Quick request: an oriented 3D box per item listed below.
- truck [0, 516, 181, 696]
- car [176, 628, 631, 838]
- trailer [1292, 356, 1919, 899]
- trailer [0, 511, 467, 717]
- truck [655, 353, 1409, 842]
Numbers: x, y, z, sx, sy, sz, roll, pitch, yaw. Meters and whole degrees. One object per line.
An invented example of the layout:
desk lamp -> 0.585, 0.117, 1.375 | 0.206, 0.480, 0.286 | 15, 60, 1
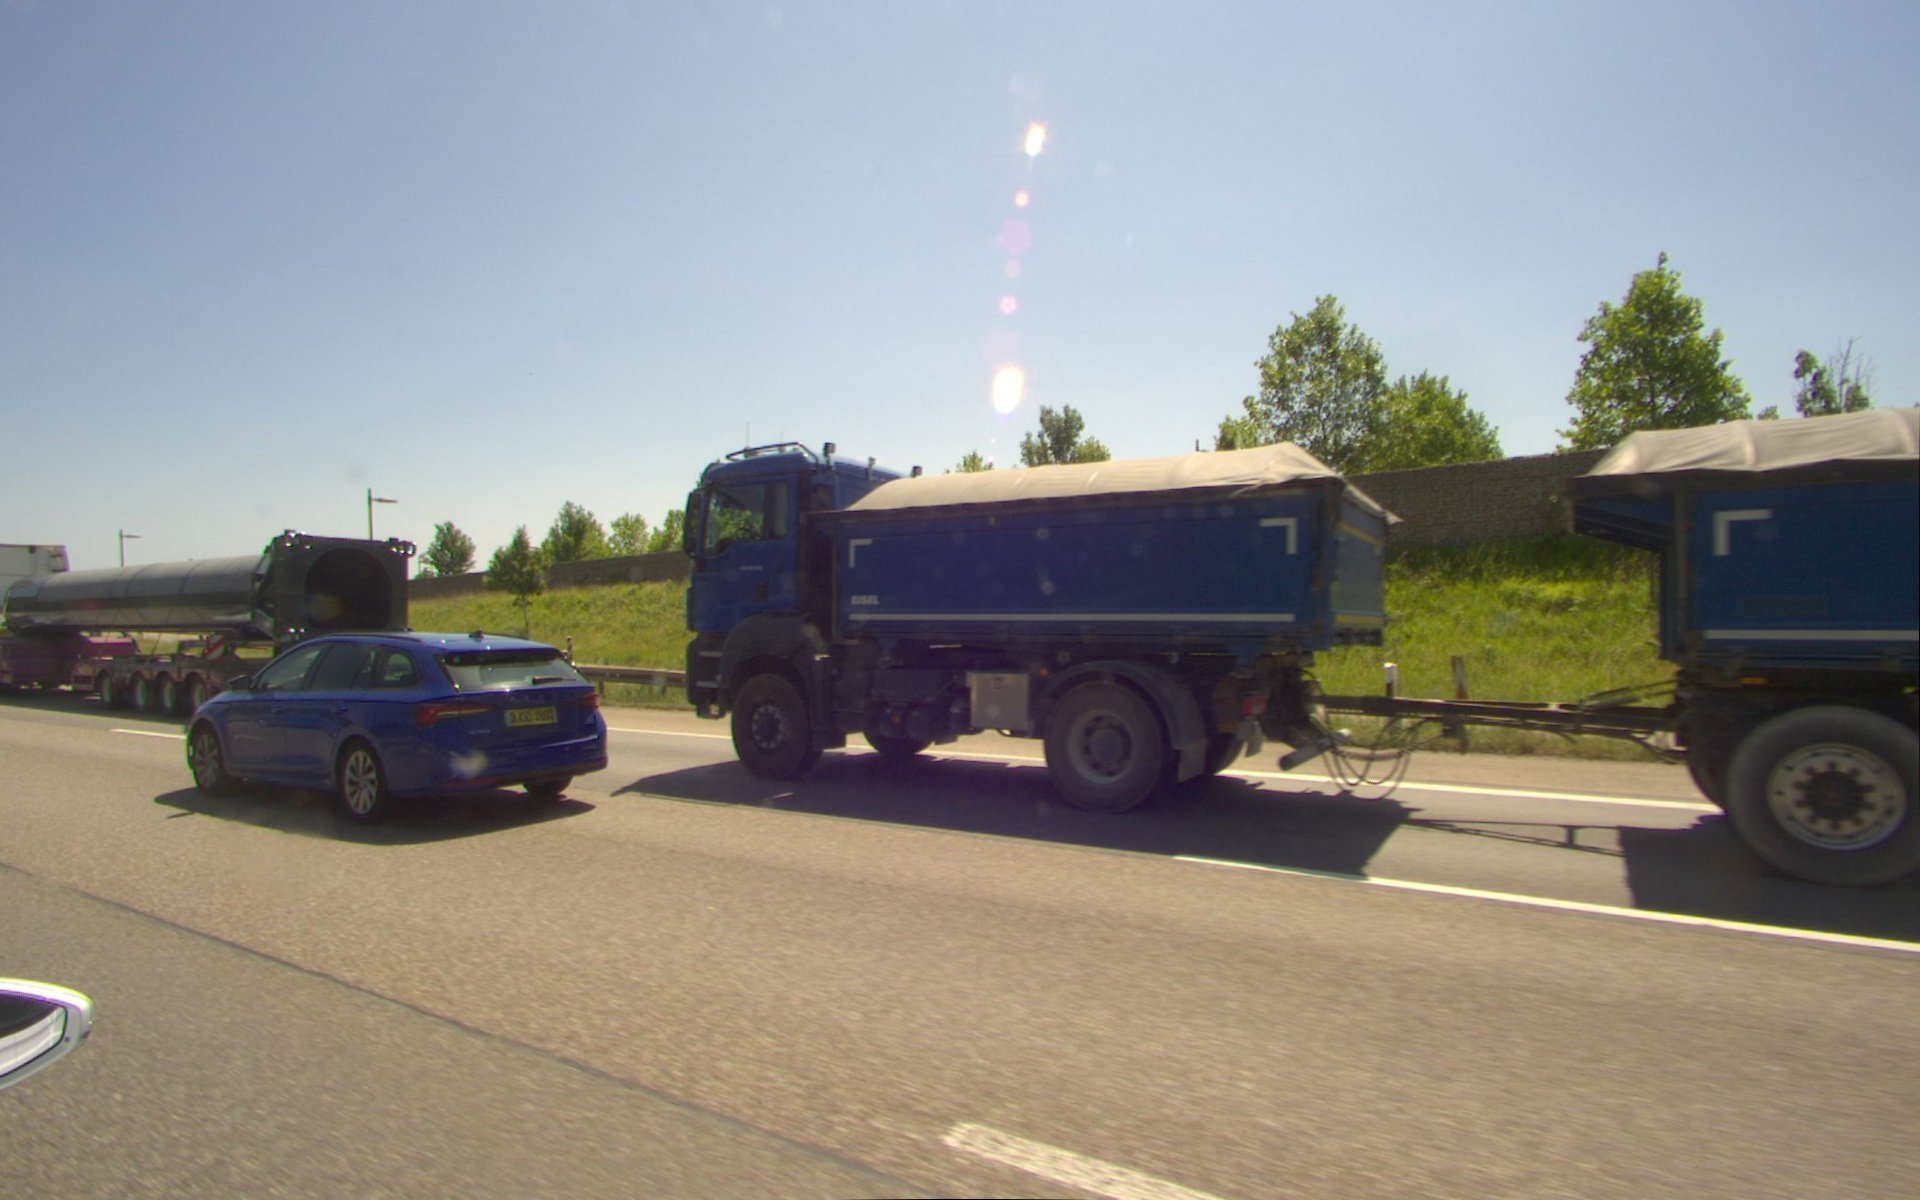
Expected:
truck -> -24.214, 0.322, 26.546 | 7.424, 4.146, 3.617 | -2, -2, 35
car -> -5.048, 1.026, 8.889 | 4.366, 1.459, 1.703 | -2, -3, 33
trailer -> 6.840, 0.166, 5.792 | 8.986, 2.873, 2.739 | -1, -2, 33
trailer -> -16.392, 0.544, 21.152 | 15.561, 3.117, 3.638 | -3, -3, 35
truck -> 0.441, 0.051, 9.937 | 7.031, 3.354, 2.739 | -1, -1, 33
